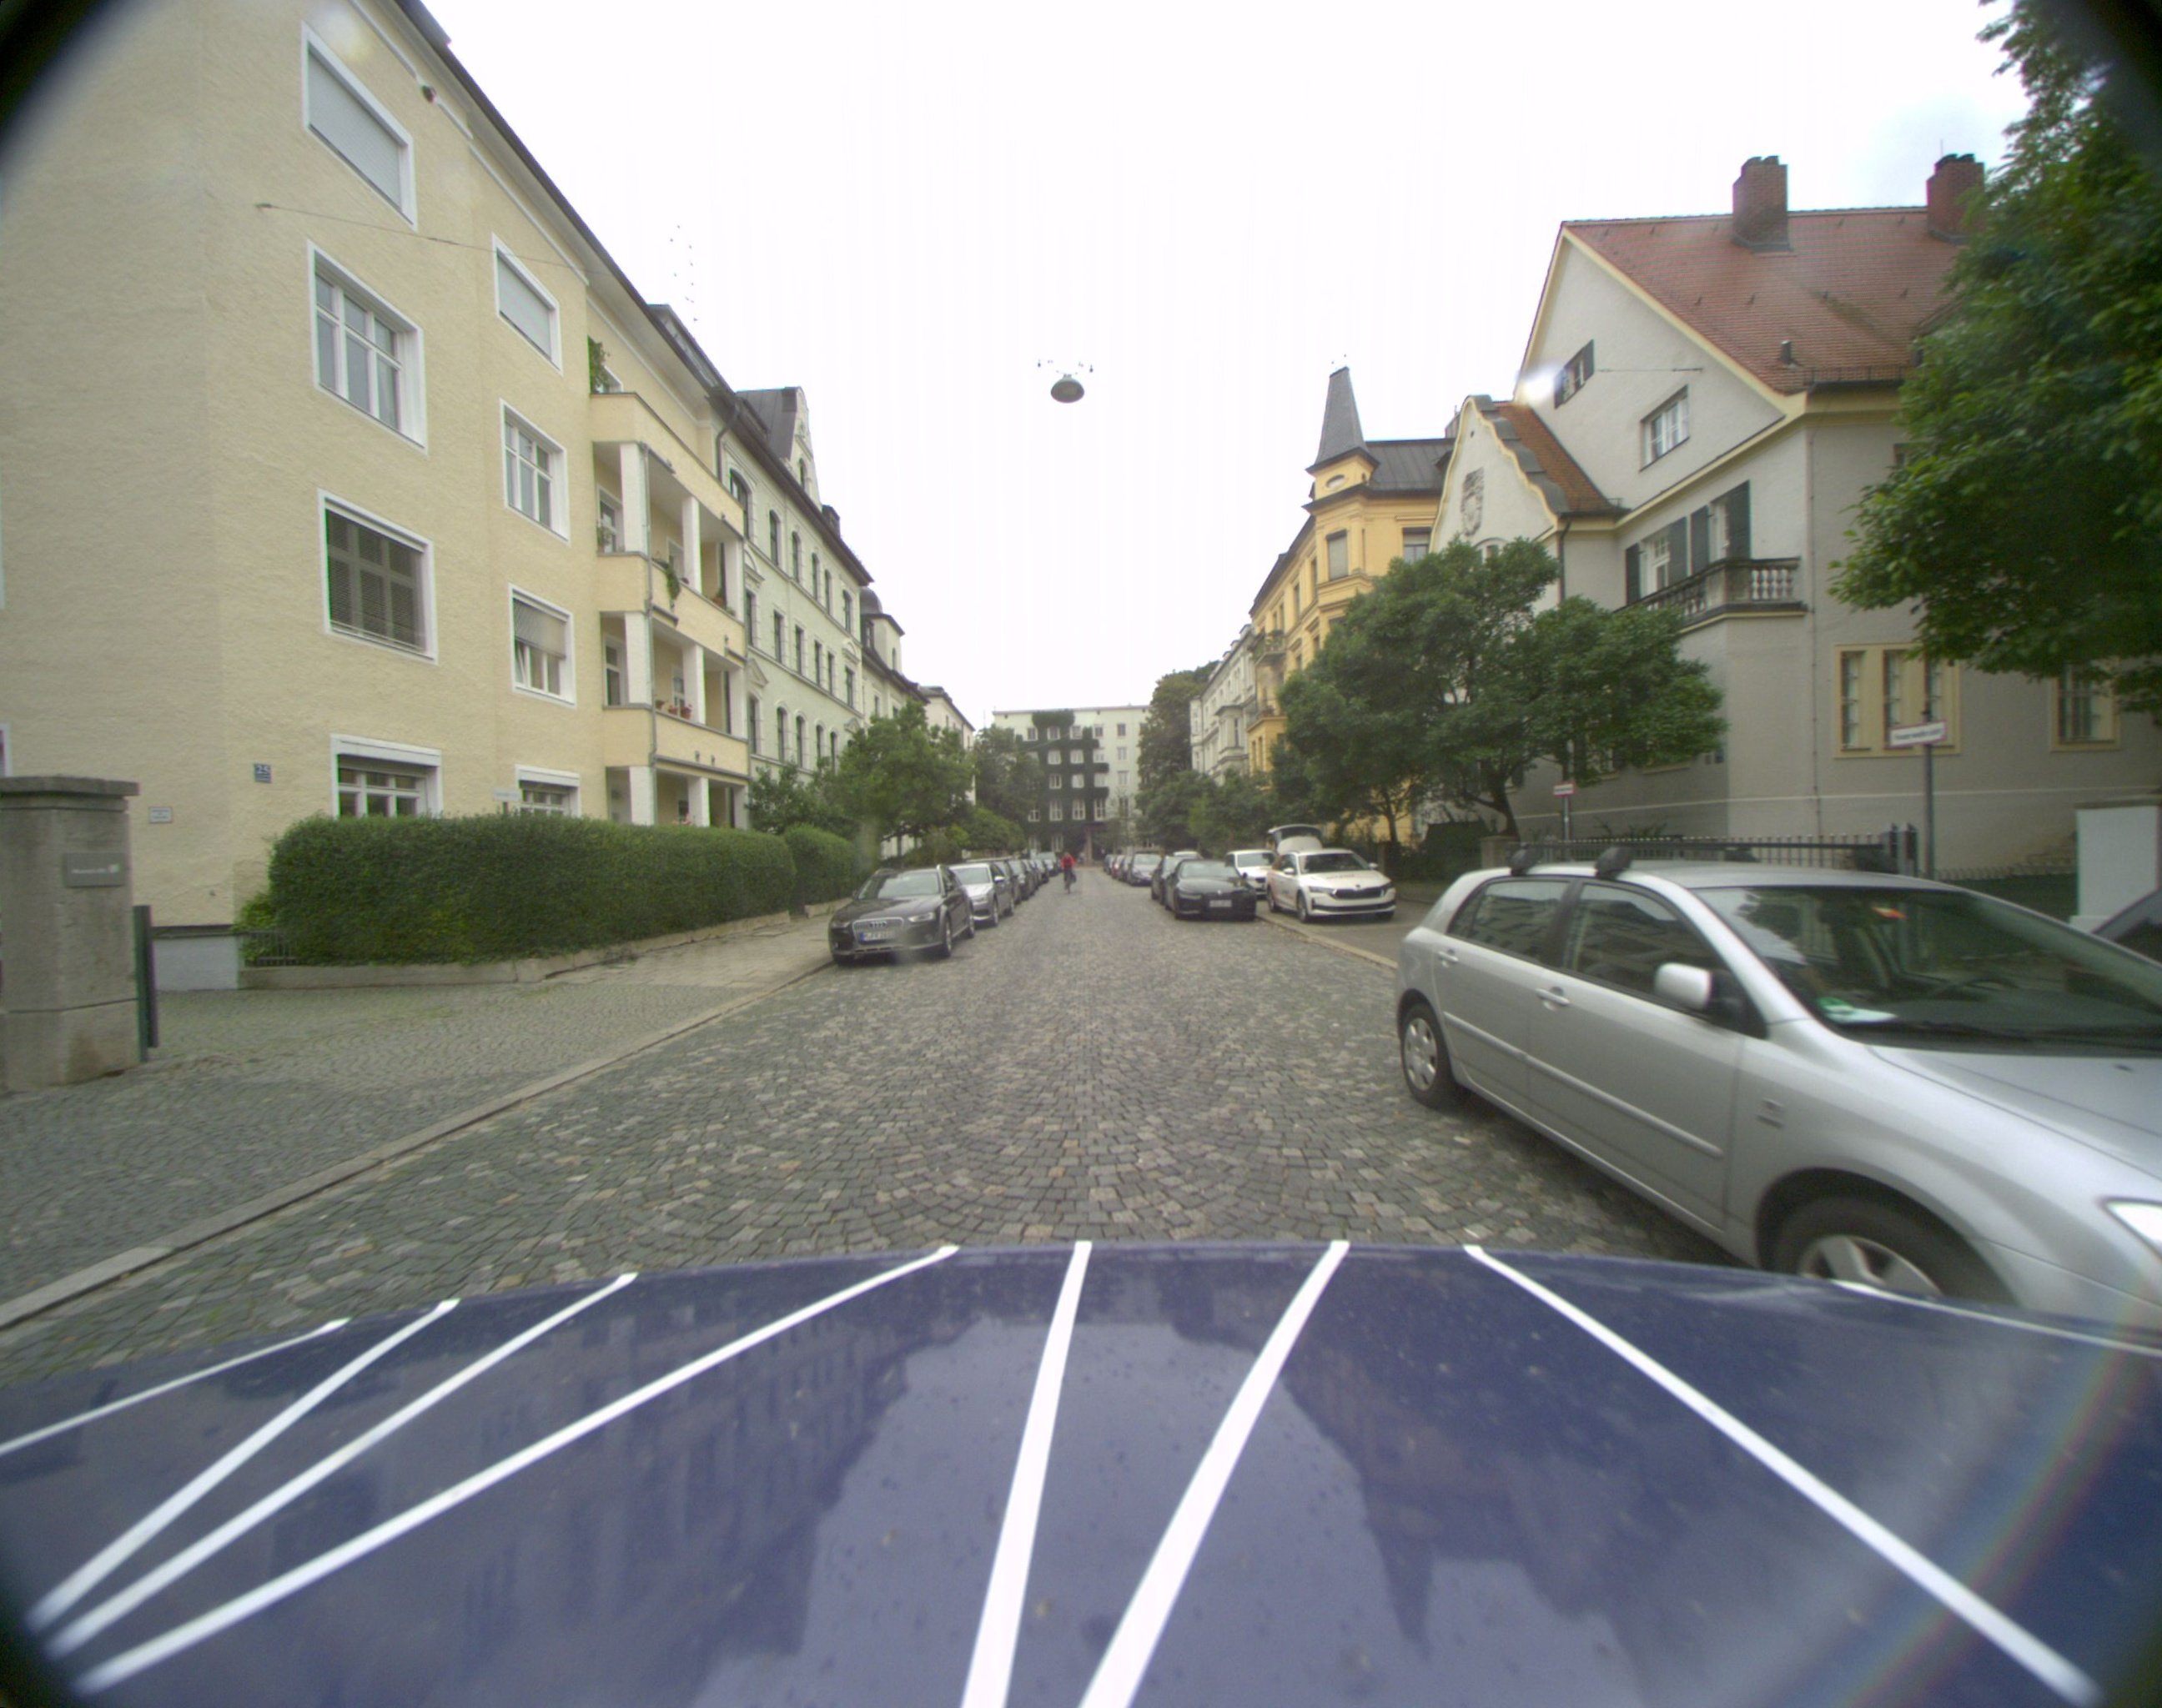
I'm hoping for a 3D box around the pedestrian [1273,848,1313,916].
[{"bbox_3d":[5.246,0.683,18.835,0.768,1.640,0.582,-3,1,2],"label":"pedestrian"}]

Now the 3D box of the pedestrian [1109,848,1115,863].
[{"bbox_3d":[4.182,0.196,102.805,0.701,1.905,0.863,-4,1,3],"label":"pedestrian"}]

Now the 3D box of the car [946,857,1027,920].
[{"bbox_3d":[-2.828,0.987,23.675,1.898,1.644,4.293,-3,0,0],"label":"car"}]

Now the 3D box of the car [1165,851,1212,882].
[{"bbox_3d":[5.622,0.598,40.227,1.846,1.457,4.389,-3,0,0],"label":"car"}]

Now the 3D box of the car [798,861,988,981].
[{"bbox_3d":[-3.033,0.990,13.515,1.998,1.543,5.014,-4,0,0],"label":"car"}]

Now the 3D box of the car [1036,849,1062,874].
[{"bbox_3d":[-2.714,0.620,65.832,1.999,1.958,4.965,-5,1,-1],"label":"car"}]

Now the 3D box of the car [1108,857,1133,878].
[{"bbox_3d":[3.083,1.038,59.552,1.815,1.490,4.510,-1,0,2],"label":"car"}]

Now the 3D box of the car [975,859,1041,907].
[{"bbox_3d":[-2.671,1.014,28.878,1.823,1.480,5.049,-5,0,1],"label":"car"}]

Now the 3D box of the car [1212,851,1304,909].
[{"bbox_3d":[5.429,0.735,23.834,1.744,1.527,4.466,-3,0,0],"label":"car"}]

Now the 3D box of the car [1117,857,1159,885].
[{"bbox_3d":[3.142,0.919,43.079,1.875,1.461,5.133,-1,0,-1],"label":"car"}]

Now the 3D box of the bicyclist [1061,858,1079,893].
[{"bbox_3d":[-0.438,0.864,30.670,0.648,1.350,0.656,-3,1,0],"label":"bicyclist"}]

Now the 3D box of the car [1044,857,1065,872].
[{"bbox_3d":[-2.460,0.955,70.994,1.744,1.367,4.181,-1,0,0],"label":"car"}]

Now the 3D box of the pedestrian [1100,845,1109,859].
[{"bbox_3d":[3.161,-0.272,102.546,0.703,1.905,0.861,-4,1,-31],"label":"pedestrian"}]

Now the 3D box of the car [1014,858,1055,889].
[{"bbox_3d":[-2.682,1.100,44.926,1.909,1.494,5.105,-5,0,1],"label":"car"}]

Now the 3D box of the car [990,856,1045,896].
[{"bbox_3d":[-2.764,0.937,34.113,1.887,1.480,4.814,-4,0,1],"label":"car"}]

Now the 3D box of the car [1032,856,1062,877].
[{"bbox_3d":[-2.656,0.939,60.251,1.942,1.457,4.532,-4,0,2],"label":"car"}]

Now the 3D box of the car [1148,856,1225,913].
[{"bbox_3d":[3.170,0.867,23.735,1.744,1.594,4.536,-1,0,0],"label":"car"}]

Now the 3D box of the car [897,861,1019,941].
[{"bbox_3d":[-2.837,1.030,18.736,1.998,1.543,4.986,-4,0,1],"label":"car"}]

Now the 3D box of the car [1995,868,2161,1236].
[{"bbox_3d":[5.351,0.812,1.350,1.719,1.489,4.721,-4,0,0],"label":"car"}]

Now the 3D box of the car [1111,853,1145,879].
[{"bbox_3d":[3.007,0.714,48.862,1.846,1.576,4.191,-1,0,-1],"label":"car"}]

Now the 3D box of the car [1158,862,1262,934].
[{"bbox_3d":[3.015,0.967,18.744,1.819,1.447,4.913,1,0,1],"label":"car"}]

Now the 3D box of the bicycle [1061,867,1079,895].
[{"bbox_3d":[-0.430,1.061,30.658,0.636,1.021,1.955,-3,1,0],"label":"bicycle"}]

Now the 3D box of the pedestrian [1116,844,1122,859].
[{"bbox_3d":[5.156,-0.333,102.632,0.666,1.905,0.863,-4,1,9],"label":"pedestrian"}]

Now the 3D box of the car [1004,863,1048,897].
[{"bbox_3d":[-2.779,1.302,39.269,1.760,1.451,4.480,-4,0,1],"label":"car"}]

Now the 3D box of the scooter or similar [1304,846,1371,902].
[{"bbox_3d":[7.472,0.561,22.286,1.065,1.514,2.635,-2,0,1],"label":"scooter or similar"}]

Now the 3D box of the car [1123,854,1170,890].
[{"bbox_3d":[3.127,0.830,37.078,1.744,1.576,4.191,-1,0,-3],"label":"car"}]

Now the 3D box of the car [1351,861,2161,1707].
[{"bbox_3d":[2.701,0.826,3.016,1.718,1.553,4.390,0,0,0],"label":"car"}]

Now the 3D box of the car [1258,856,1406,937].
[{"bbox_3d":[5.287,0.821,16.677,1.780,1.408,4.561,-3,0,1],"label":"car"}]

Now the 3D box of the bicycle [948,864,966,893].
[{"bbox_3d":[-5.364,1.045,32.758,0.582,1.188,1.646,-3,0,-14],"label":"bicycle"}]
